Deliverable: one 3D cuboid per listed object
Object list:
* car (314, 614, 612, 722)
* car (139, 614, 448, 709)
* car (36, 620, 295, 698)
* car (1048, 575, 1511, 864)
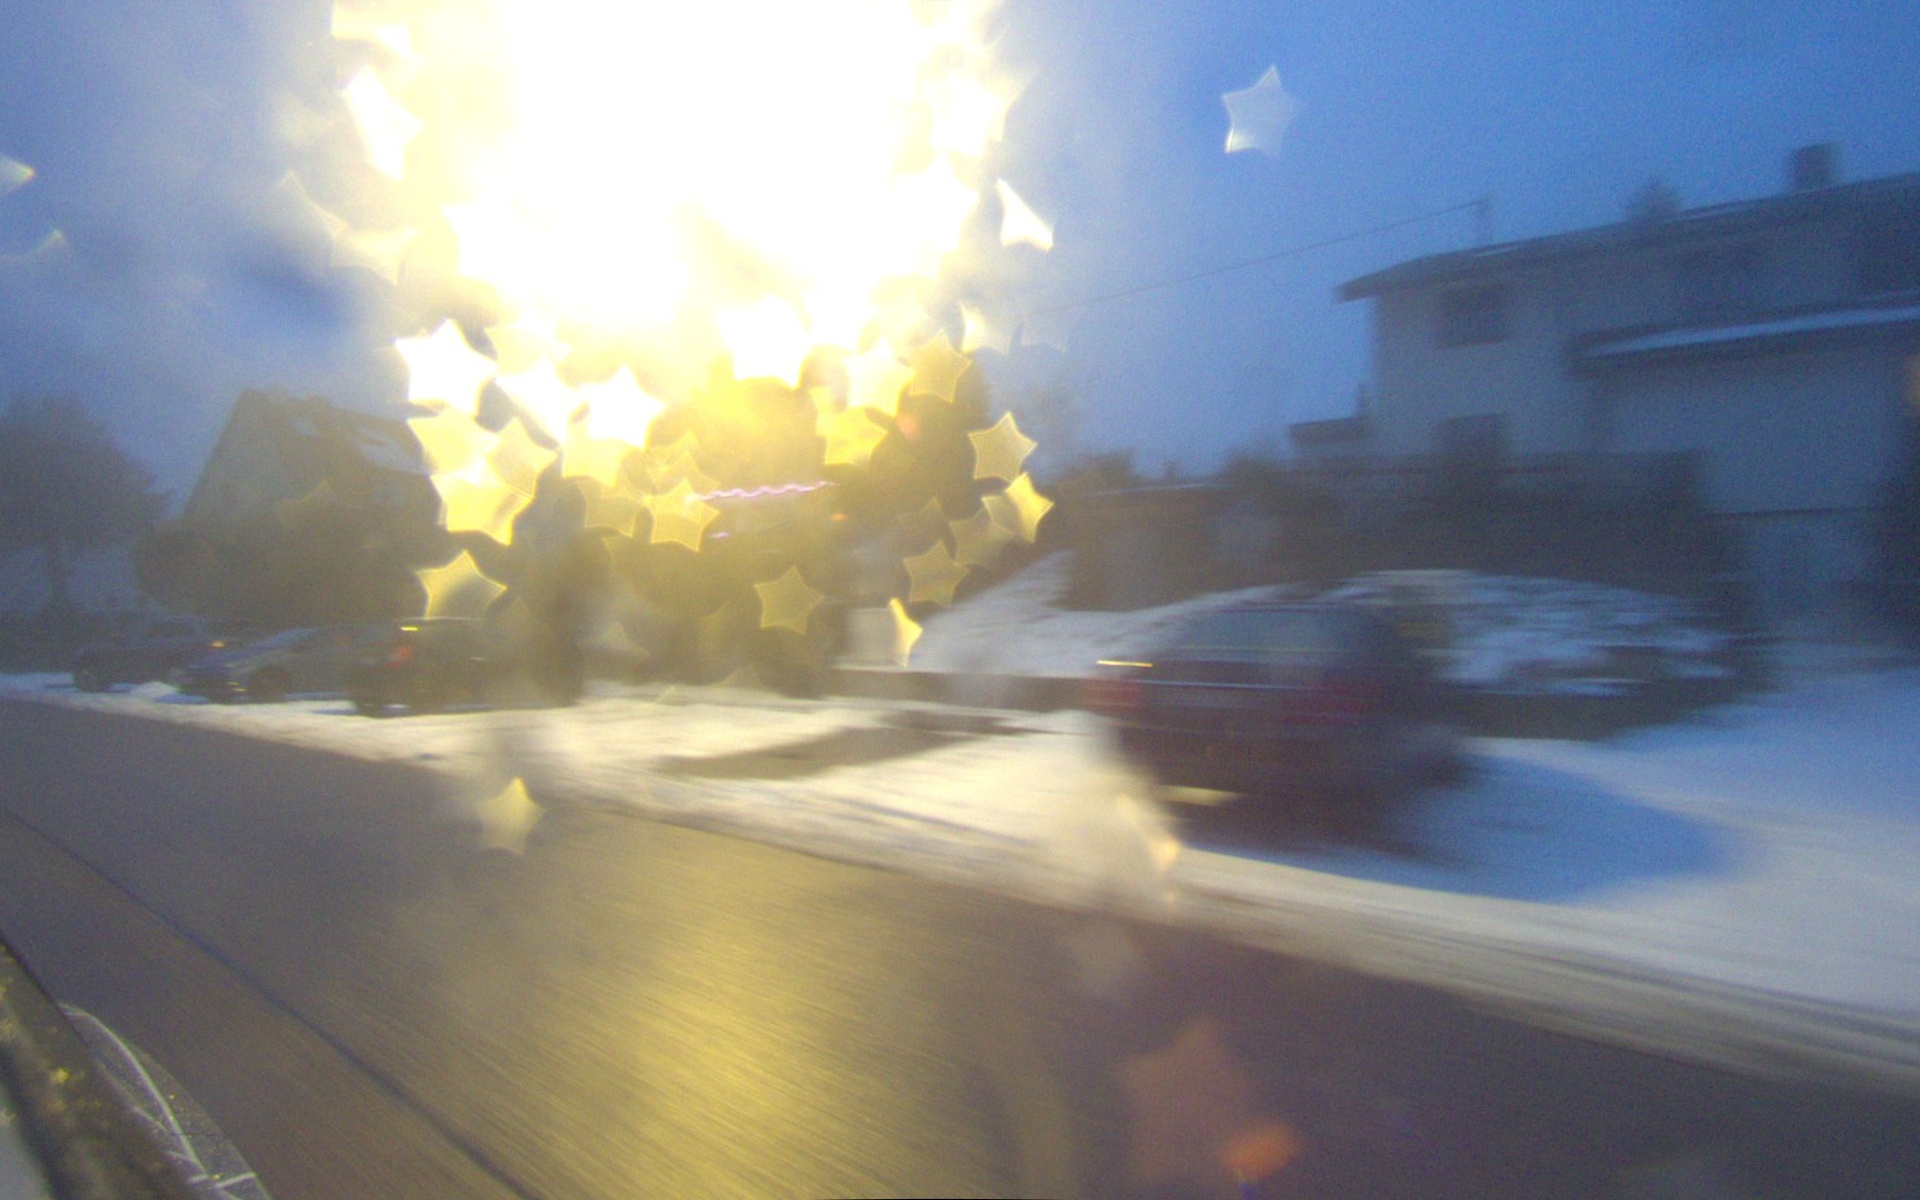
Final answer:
[{"bbox_3d":[-7.719,1.035,16.070,1.931,1.483,3.826,-2,-3,31],"label":"car"},{"bbox_3d":[-12.510,1.136,19.357,2.100,1.578,4.501,-1,-3,26],"label":"car"},{"bbox_3d":[-17.466,1.288,22.280,4.954,1.578,1.989,-1,-4,17],"label":"car"},{"bbox_3d":[2.794,0.737,7.874,2.118,1.496,4.845,-2,-3,34],"label":"car"}]
